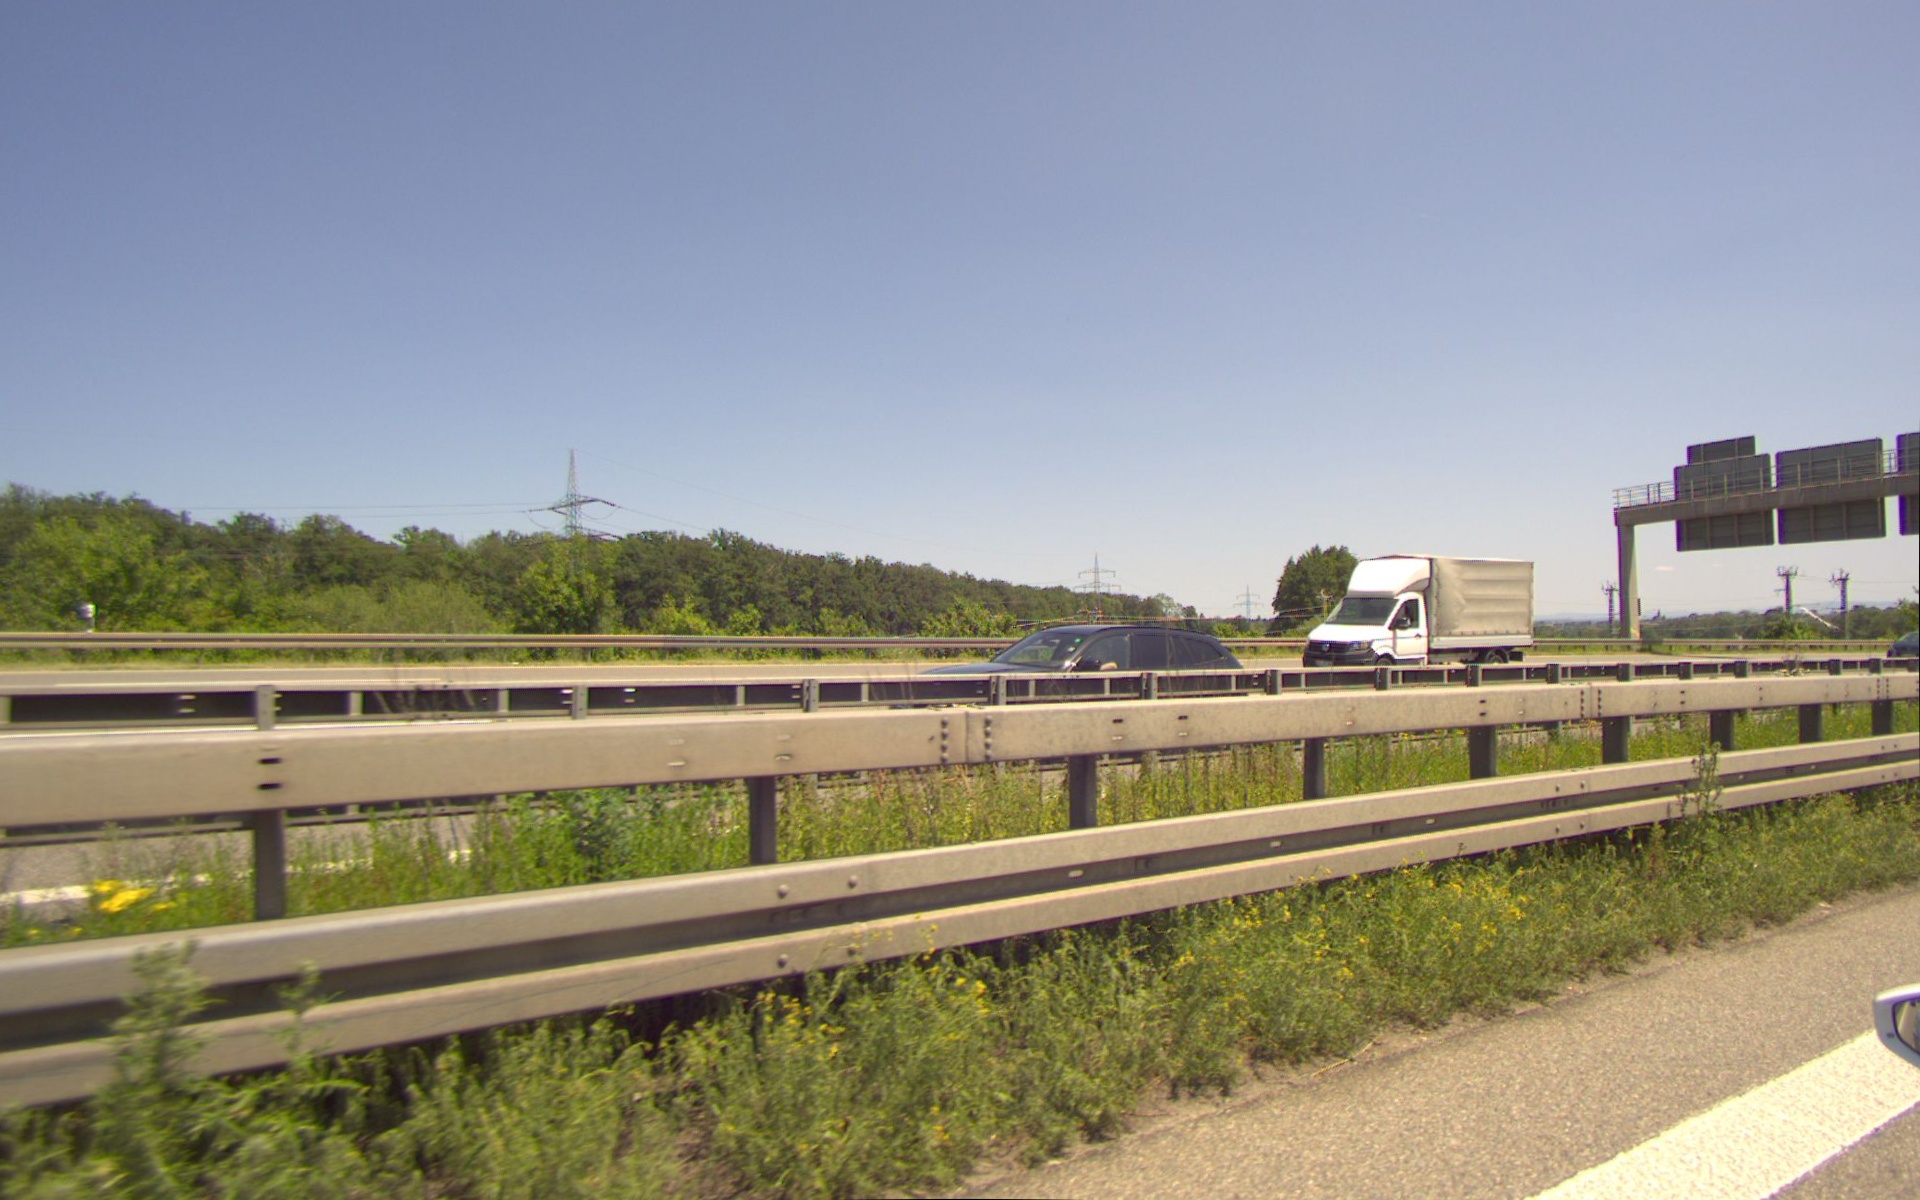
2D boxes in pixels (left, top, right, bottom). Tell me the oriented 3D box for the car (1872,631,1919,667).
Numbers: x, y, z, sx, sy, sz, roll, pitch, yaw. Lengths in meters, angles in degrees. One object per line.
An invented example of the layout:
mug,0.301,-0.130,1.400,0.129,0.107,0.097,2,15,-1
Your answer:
car,40.741,2.064,42.627,3.952,1.439,1.897,1,-1,-29

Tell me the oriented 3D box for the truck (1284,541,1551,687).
truck,11.910,0.444,25.852,7.574,3.320,2.364,2,-1,-31

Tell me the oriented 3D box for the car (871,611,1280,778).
car,1.479,1.028,11.983,4.776,1.646,1.739,2,-1,-31
